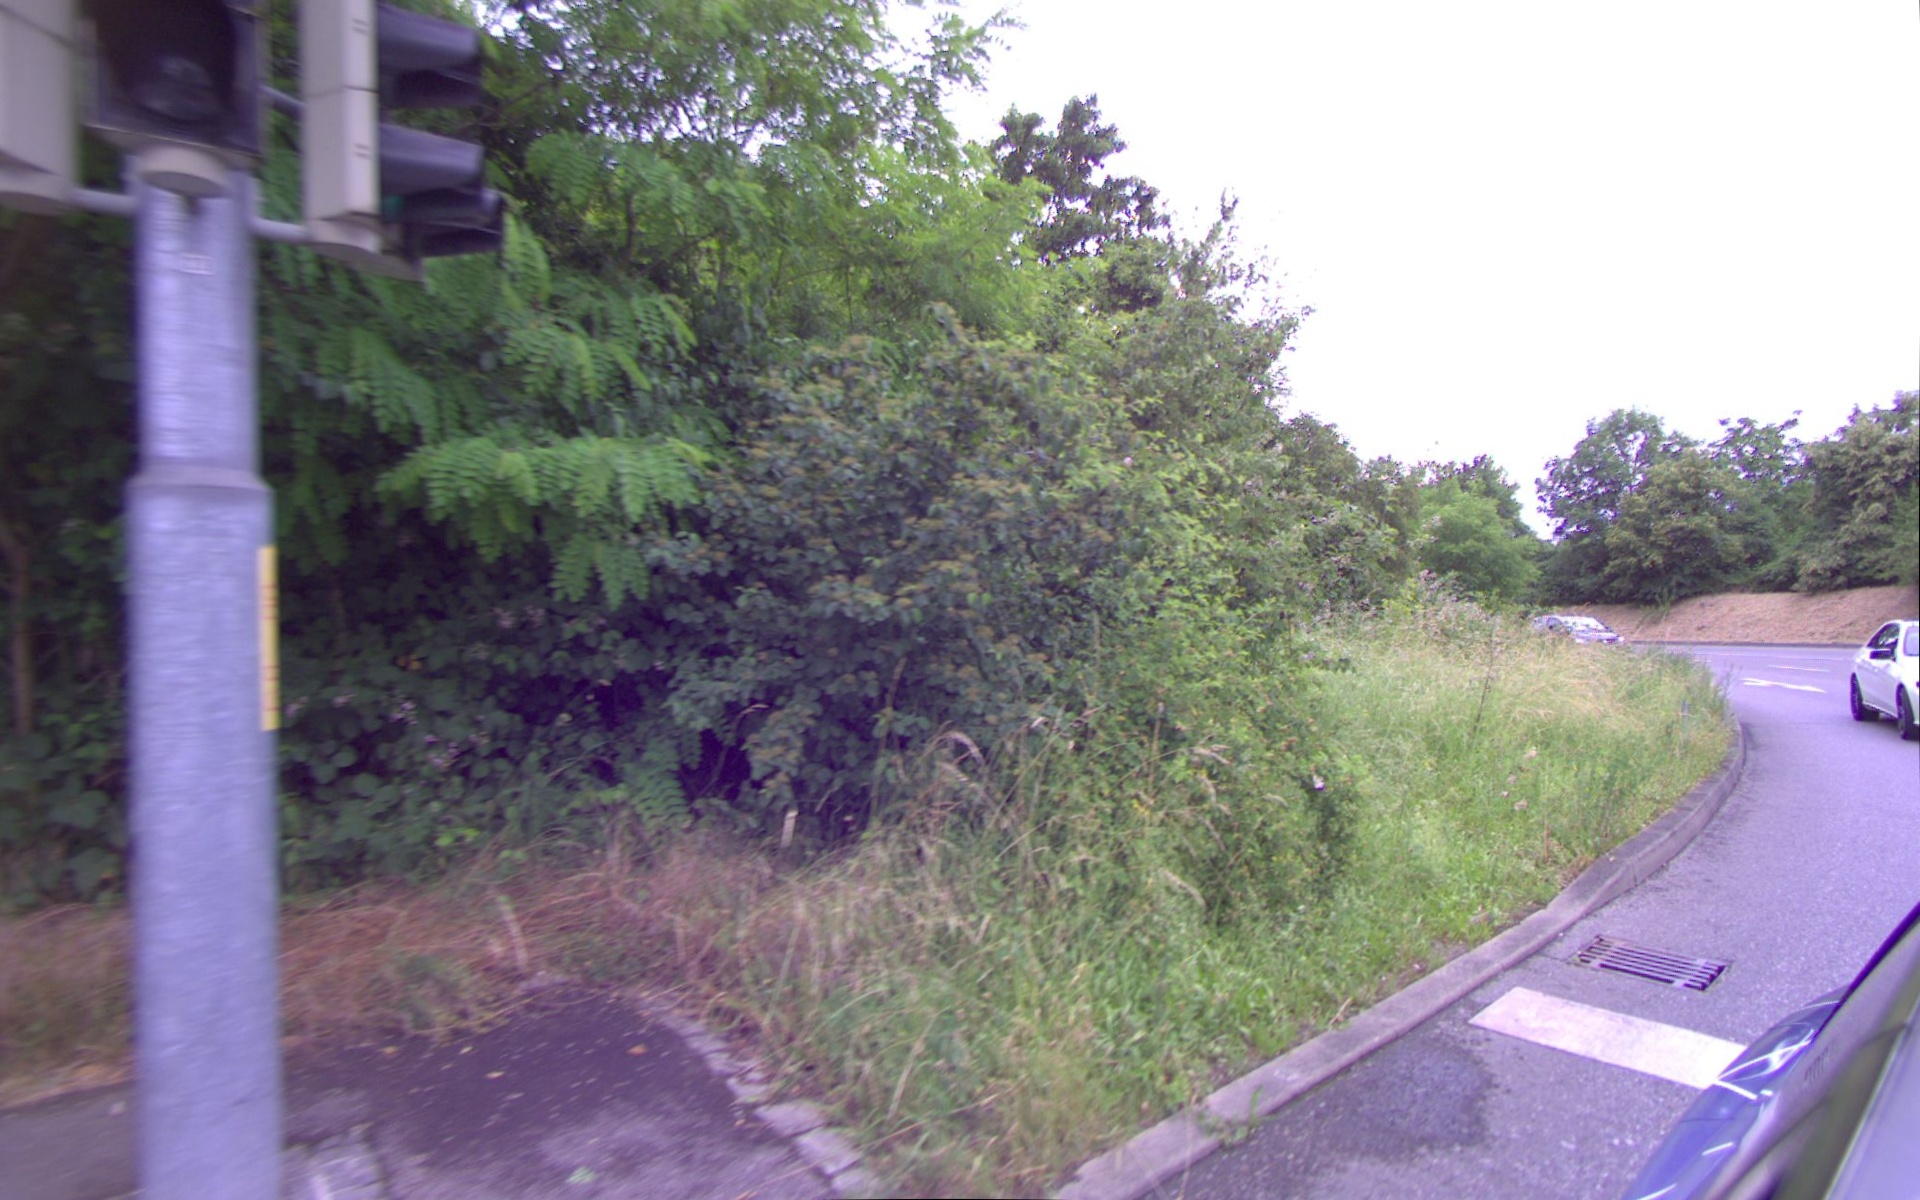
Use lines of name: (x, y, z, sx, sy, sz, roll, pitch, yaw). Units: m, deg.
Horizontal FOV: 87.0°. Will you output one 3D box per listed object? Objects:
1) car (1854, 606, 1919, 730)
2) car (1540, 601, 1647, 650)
car: (12.982, 0.784, 12.794, 1.875, 1.441, 3.952, -4, -2, 33)
car: (21.577, 0.911, 34.633, 1.795, 1.565, 3.711, -2, -3, 11)
